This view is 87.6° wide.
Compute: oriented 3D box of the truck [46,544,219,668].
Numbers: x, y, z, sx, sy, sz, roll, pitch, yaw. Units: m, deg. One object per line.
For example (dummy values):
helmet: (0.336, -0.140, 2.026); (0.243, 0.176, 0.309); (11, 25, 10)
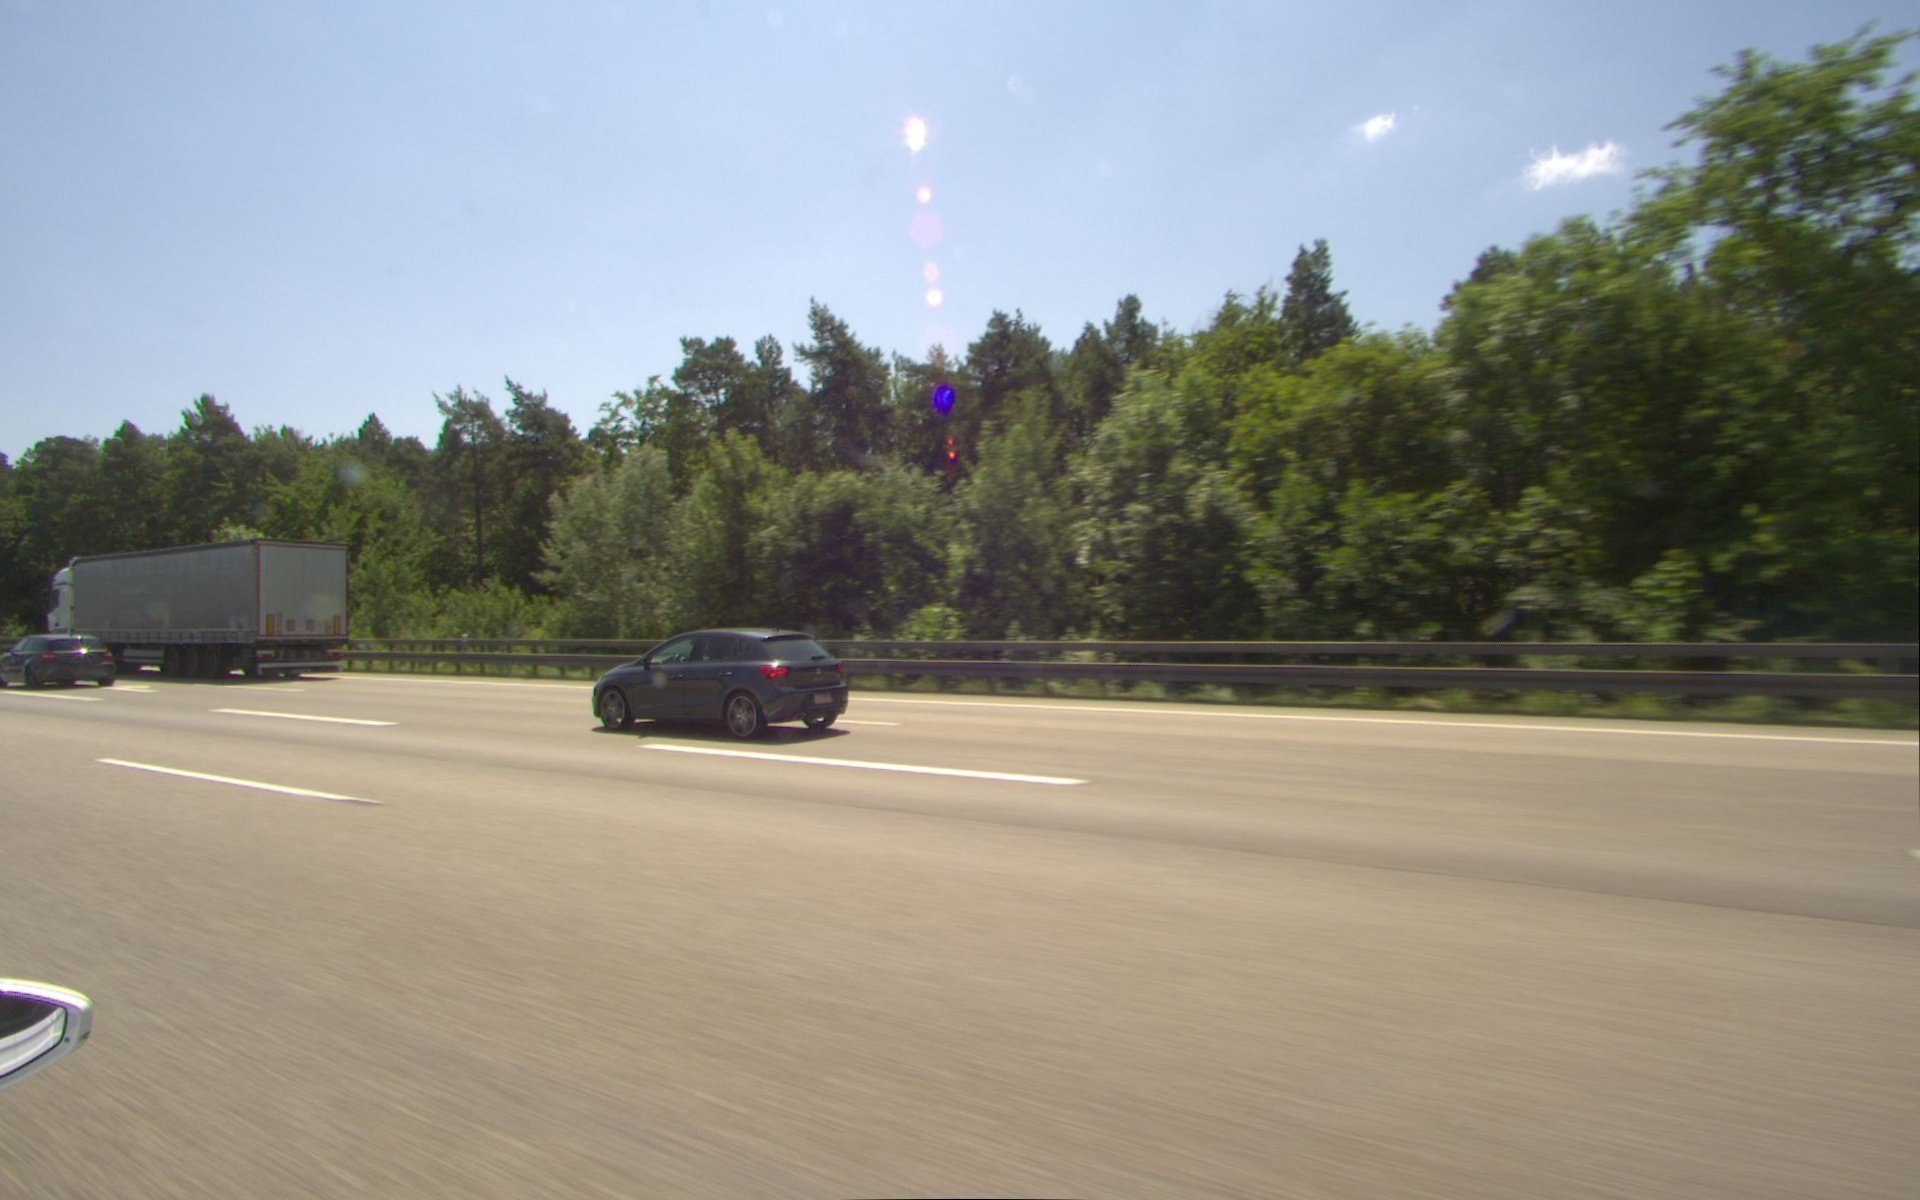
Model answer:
truck: (-30.303, 0.278, 36.653); (5.902, 4.160, 3.249); (-1, -1, 32)

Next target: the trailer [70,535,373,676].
trailer: (-24.842, 0.299, 33.244); (13.690, 3.981, 3.282); (-1, -1, 32)

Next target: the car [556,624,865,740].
car: (-3.683, 1.088, 14.464); (4.569, 1.457, 1.640); (-1, -2, 32)

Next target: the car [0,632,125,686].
car: (-24.530, 1.558, 27.176); (4.229, 1.290, 1.667); (-1, 0, 32)
